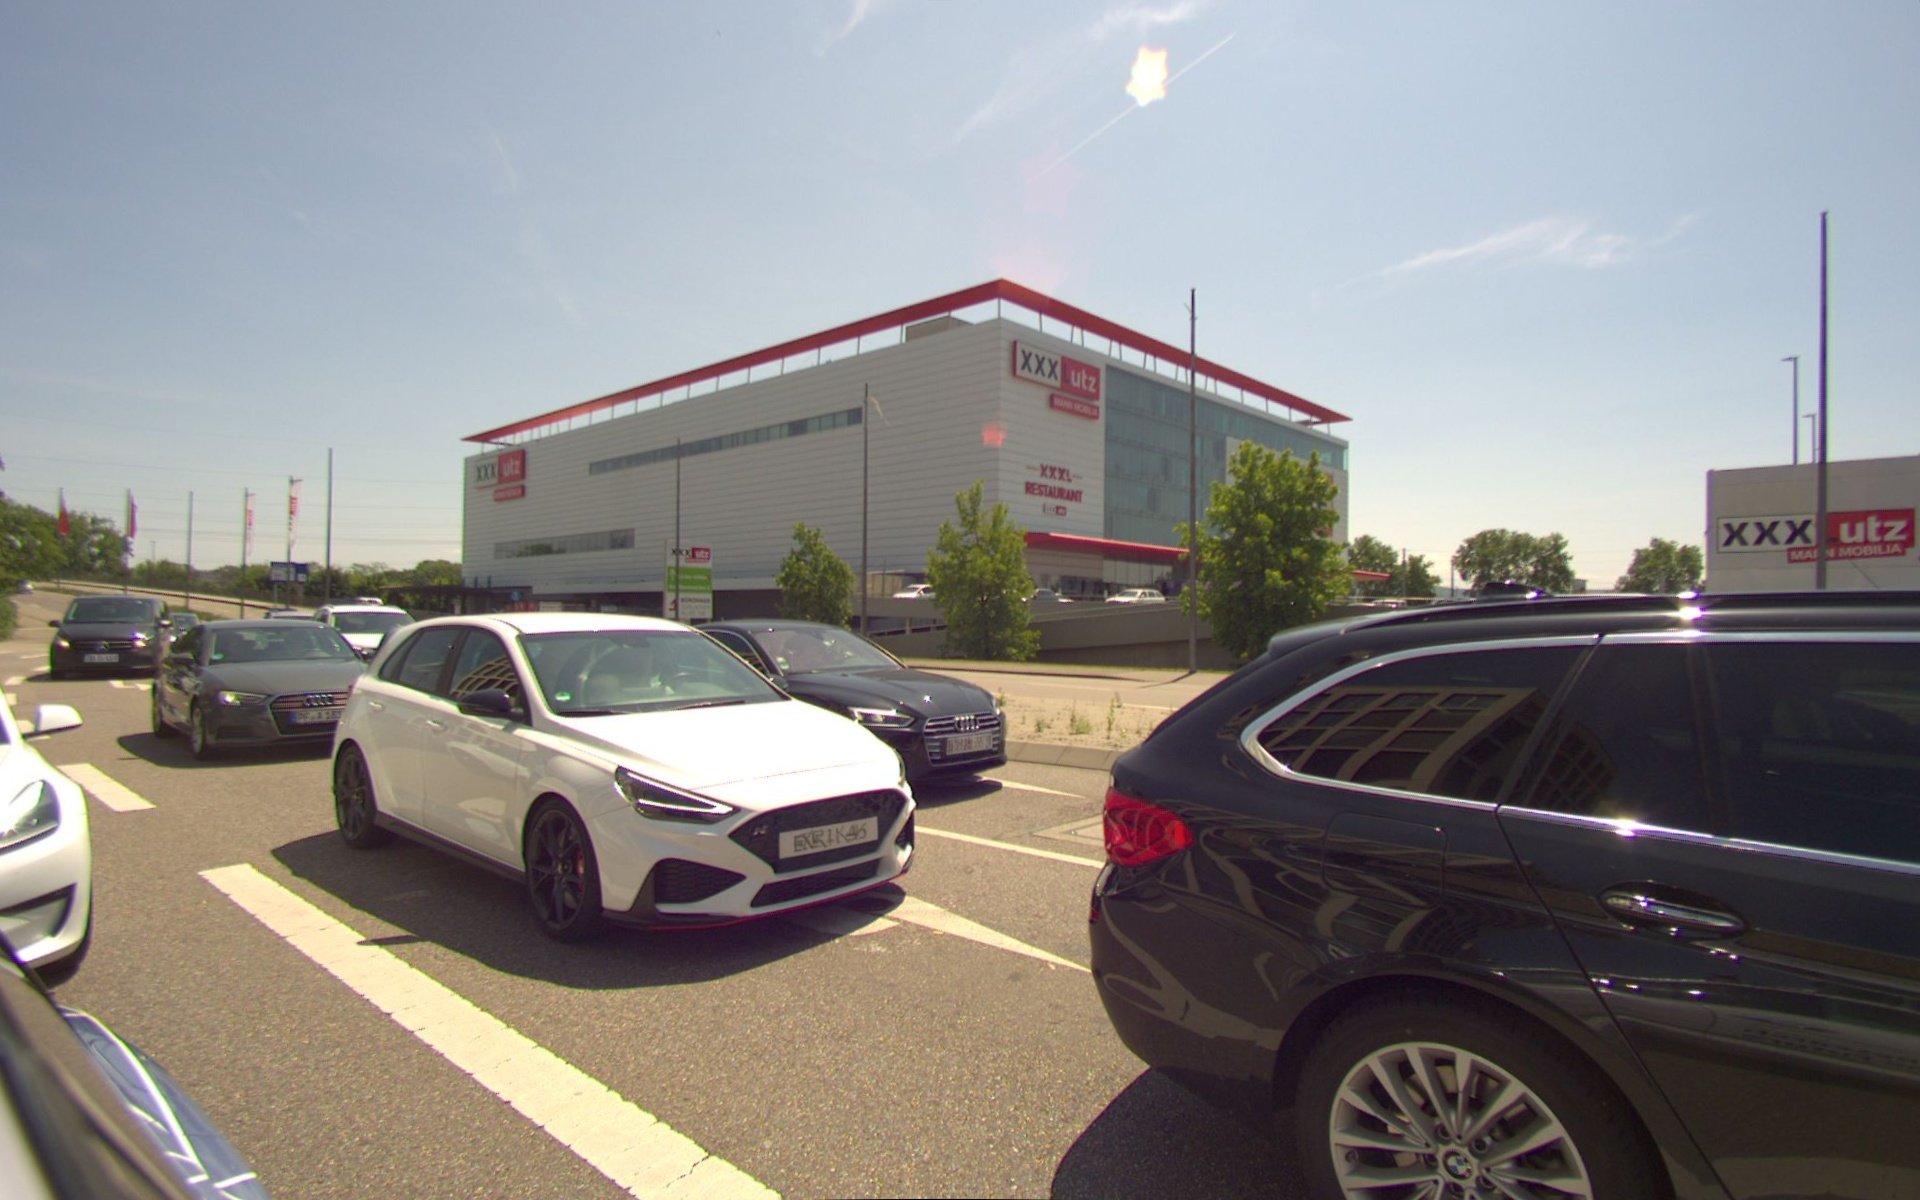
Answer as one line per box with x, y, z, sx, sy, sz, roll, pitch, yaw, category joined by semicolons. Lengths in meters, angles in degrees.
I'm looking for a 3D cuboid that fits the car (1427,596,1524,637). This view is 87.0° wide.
27.099;0.861;53.253;4.323;2.029;1.974;0;-2;38;car

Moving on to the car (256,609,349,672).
-16.455;0.972;25.263;1.741;1.433;3.908;-1;-1;-36;car

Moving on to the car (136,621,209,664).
-28.218;1.496;36.365;1.582;1.451;3.744;1;-2;-30;car

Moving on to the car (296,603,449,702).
-11.319;0.913;19.339;1.743;1.653;4.498;0;0;-40;car

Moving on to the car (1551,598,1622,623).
45.553;0.748;73.627;4.134;1.754;1.759;0;-2;42;car

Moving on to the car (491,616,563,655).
-20.260;1.645;47.291;1.840;1.736;4.047;2;-2;-43;car

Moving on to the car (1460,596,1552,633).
30.880;0.838;57.288;4.323;2.029;1.975;0;-2;38;car

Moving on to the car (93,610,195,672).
-23.469;1.152;29.237;1.784;1.652;4.011;1;-2;-32;car

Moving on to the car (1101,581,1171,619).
10.040;0.049;57.548;4.407;2.029;1.680;2;-2;-44;car

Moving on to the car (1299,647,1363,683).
19.048;3.291;51.887;1.997;1.719;3.949;-1;-2;38;car

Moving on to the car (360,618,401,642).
-44.206;2.302;77.144;1.840;1.736;4.046;2;-3;-43;car

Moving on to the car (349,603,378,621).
-79.658;1.663;135.183;4.815;2.300;2.162;-1;-2;44;car

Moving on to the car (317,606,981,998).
-2.001;0.778;5.782;4.068;1.447;1.769;-1;-1;41;car

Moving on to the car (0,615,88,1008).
-5.585;0.810;4.663;4.282;1.447;1.800;-1;0;41;car

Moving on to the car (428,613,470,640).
-37.481;1.949;74.214;1.792;1.918;3.733;2;-2;-43;car

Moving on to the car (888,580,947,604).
-2.913;-0.525;69.281;1.718;1.519;3.942;-1;-2;44;car

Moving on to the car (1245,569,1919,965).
3.581;0.616;4.722;4.009;1.433;1.674;-2;-1;43;car

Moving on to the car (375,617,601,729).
-7.101;0.978;14.977;1.744;1.413;4.435;1;-2;-43;car

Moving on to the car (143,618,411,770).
-7.782;0.911;11.377;1.744;1.393;4.092;2;-2;-45;car

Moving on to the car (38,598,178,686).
-19.665;0.915;23.572;1.865;1.835;4.850;1;-1;-33;car

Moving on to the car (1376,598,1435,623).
36.291;0.870;82.441;4.000;1.915;1.972;-1;-2;43;car

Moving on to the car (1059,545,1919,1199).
2.546;0.646;1.709;4.553;1.451;1.779;-1;-1;40;car

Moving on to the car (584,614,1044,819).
-1.527;0.874;9.168;4.466;1.415;1.654;-2;-1;42;car
